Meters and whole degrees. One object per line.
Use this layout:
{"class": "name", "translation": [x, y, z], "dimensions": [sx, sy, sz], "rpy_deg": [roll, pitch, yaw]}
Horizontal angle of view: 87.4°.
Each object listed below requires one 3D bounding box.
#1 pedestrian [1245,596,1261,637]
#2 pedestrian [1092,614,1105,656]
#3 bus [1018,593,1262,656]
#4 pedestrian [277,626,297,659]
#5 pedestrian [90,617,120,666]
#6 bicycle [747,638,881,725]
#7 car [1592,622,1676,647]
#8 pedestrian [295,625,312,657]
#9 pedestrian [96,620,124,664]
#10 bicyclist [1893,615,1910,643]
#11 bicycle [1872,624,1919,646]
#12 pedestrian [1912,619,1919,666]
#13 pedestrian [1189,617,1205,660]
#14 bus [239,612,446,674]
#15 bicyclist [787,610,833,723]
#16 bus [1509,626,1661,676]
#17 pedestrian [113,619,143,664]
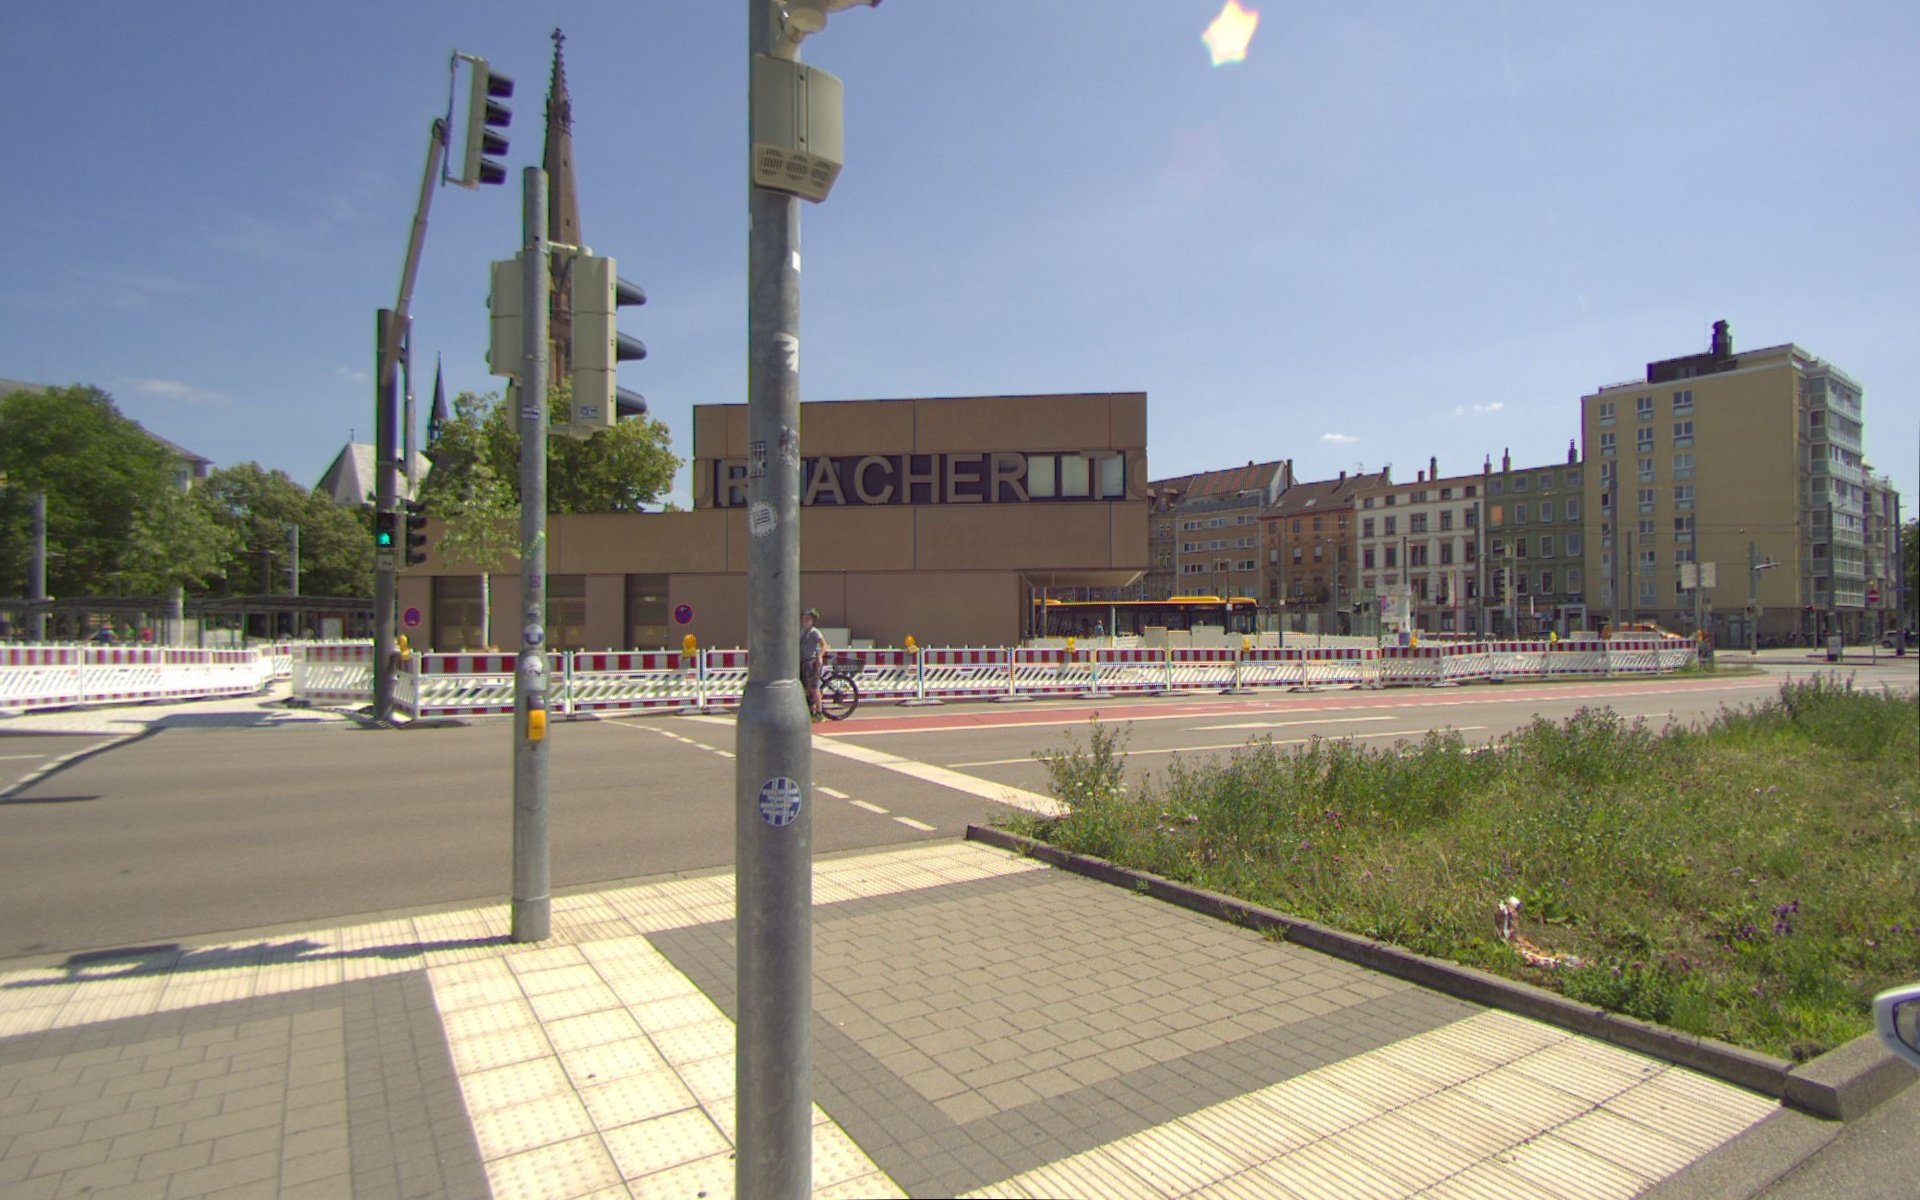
{"class": "pedestrian", "translation": [14.548, 0.807, 49.863], "dimensions": [0.650, 2.022, 0.611], "rpy_deg": [-2, 0, 11]}
{"class": "pedestrian", "translation": [6.794, 1.729, 49.363], "dimensions": [0.572, 2.022, 0.572], "rpy_deg": [-2, 0, 10]}
{"class": "bus", "translation": [9.100, 1.281, 51.878], "dimensions": [12.005, 3.081, 3.741], "rpy_deg": [0, -2, 7]}
{"class": "pedestrian", "translation": [-34.986, 2.218, 52.216], "dimensions": [0.536, 1.677, 0.627], "rpy_deg": [-2, 0, 2]}
{"class": "pedestrian", "translation": [-34.460, 1.655, 40.499], "dimensions": [0.565, 1.931, 0.693], "rpy_deg": [-2, 0, 5]}
{"class": "bicycle", "translation": [-2.108, 1.159, 14.649], "dimensions": [1.877, 1.196, 0.520], "rpy_deg": [2, -2, -32]}
{"class": "car", "translation": [47.224, 2.370, 70.487], "dimensions": [1.658, 1.635, 4.595], "rpy_deg": [-2, 0, -34]}
{"class": "pedestrian", "translation": [-33.929, 2.123, 51.917], "dimensions": [0.510, 1.642, 0.537], "rpy_deg": [-2, 0, 2]}
{"class": "pedestrian", "translation": [-35.330, 1.749, 41.751], "dimensions": [0.647, 1.779, 0.540], "rpy_deg": [-2, 0, -3]}
{"class": "bicyclist", "translation": [73.862, 2.289, 78.806], "dimensions": [0.724, 2.134, 0.776], "rpy_deg": [-2, 0, 22]}
{"class": "bicycle", "translation": [73.873, 2.733, 78.817], "dimensions": [3.261, 1.617, 0.818], "rpy_deg": [-2, 0, 24]}
{"class": "pedestrian", "translation": [41.074, 1.786, 42.274], "dimensions": [0.890, 1.959, 1.175], "rpy_deg": [-2, 0, -26]}
{"class": "pedestrian", "translation": [11.451, 1.870, 48.548], "dimensions": [0.651, 2.022, 0.611], "rpy_deg": [-2, 0, 21]}
{"class": "bus", "translation": [-34.616, 2.398, 56.445], "dimensions": [10.388, 3.094, 2.857], "rpy_deg": [-2, 0, 8]}
{"class": "bicyclist", "translation": [-2.185, 0.958, 14.626], "dimensions": [0.493, 1.600, 0.527], "rpy_deg": [2, -2, -31]}
{"class": "bus", "translation": [19.475, 1.533, 31.210], "dimensions": [5.744, 1.266, 1.239], "rpy_deg": [-2, 0, -27]}
{"class": "pedestrian", "translation": [-34.480, 1.714, 41.626], "dimensions": [0.625, 1.812, 0.646], "rpy_deg": [-2, 0, 6]}
